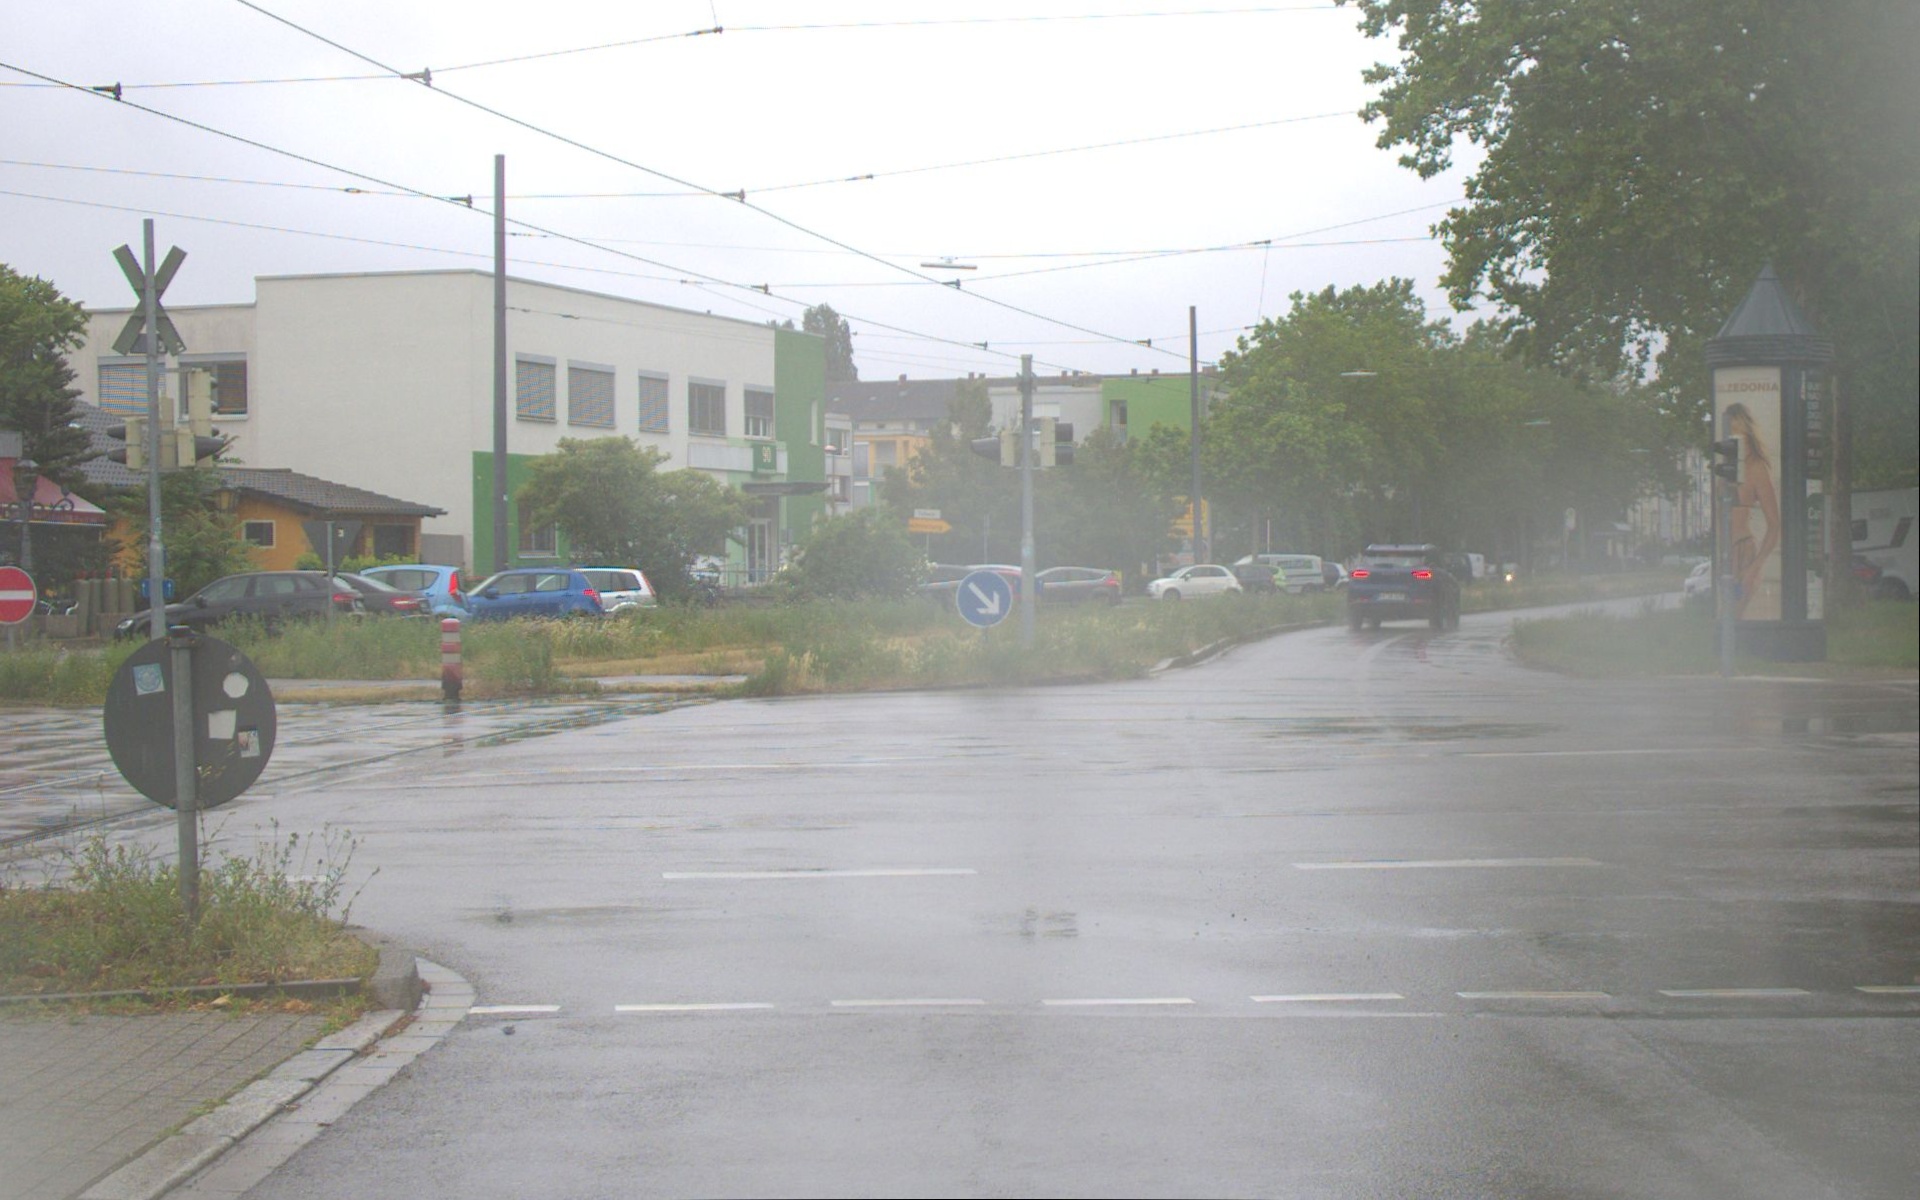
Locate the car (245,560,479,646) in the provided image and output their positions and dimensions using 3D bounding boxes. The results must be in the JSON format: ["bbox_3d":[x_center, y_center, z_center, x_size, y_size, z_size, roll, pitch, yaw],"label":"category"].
[{"bbox_3d":[-11.244,0.050,64.797,3.987,1.576,1.858,0,0,4],"label":"car"}]

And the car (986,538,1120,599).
[{"bbox_3d":[2.957,-1.011,109.940,3.986,1.881,2.000,1,0,-7],"label":"car"}]

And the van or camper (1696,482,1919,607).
[{"bbox_3d":[23.249,-1.434,89.634,7.434,3.167,3.259,1,1,22],"label":"van or camper"}]

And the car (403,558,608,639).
[{"bbox_3d":[-9.243,-0.044,69.795,3.986,1.576,1.930,0,0,-11],"label":"car"}]

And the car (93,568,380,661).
[{"bbox_3d":[-12.380,0.233,59.002,4.477,1.413,1.858,-2,0,1],"label":"car"}]

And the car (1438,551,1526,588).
[{"bbox_3d":[26.408,-1.541,173.942,3.986,1.826,2.000,1,0,-5],"label":"car"}]

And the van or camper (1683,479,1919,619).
[{"bbox_3d":[20.856,-1.178,80.536,7.328,3.167,3.259,1,1,18],"label":"van or camper"}]

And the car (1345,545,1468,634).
[{"bbox_3d":[8.809,-0.218,67.541,1.807,1.680,3.908,1,1,16],"label":"car"}]

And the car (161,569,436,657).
[{"bbox_3d":[-11.775,0.219,61.356,4.497,1.413,1.858,-2,0,1],"label":"car"}]

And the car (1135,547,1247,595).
[{"bbox_3d":[8.520,-1.080,126.779,3.773,1.697,1.837,1,0,-10],"label":"car"}]

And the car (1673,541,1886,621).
[{"bbox_3d":[18.498,-0.442,77.597,4.449,1.711,1.998,1,1,21],"label":"car"}]

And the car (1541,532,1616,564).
[{"bbox_3d":[36.581,-3.100,203.425,3.986,1.826,2.000,1,0,-5],"label":"car"}]

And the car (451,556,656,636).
[{"bbox_3d":[-8.637,-0.089,72.925,4.107,1.635,1.930,-1,0,-14],"label":"car"}]

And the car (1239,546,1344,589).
[{"bbox_3d":[13.950,-1.386,144.893,3.986,1.752,2.011,1,0,-11],"label":"car"}]

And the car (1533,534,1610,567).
[{"bbox_3d":[35.333,-2.870,198.693,3.986,1.826,2.000,1,0,-5],"label":"car"}]

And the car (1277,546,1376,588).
[{"bbox_3d":[16.388,-1.479,153.857,3.986,1.826,2.001,1,0,-11],"label":"car"}]
